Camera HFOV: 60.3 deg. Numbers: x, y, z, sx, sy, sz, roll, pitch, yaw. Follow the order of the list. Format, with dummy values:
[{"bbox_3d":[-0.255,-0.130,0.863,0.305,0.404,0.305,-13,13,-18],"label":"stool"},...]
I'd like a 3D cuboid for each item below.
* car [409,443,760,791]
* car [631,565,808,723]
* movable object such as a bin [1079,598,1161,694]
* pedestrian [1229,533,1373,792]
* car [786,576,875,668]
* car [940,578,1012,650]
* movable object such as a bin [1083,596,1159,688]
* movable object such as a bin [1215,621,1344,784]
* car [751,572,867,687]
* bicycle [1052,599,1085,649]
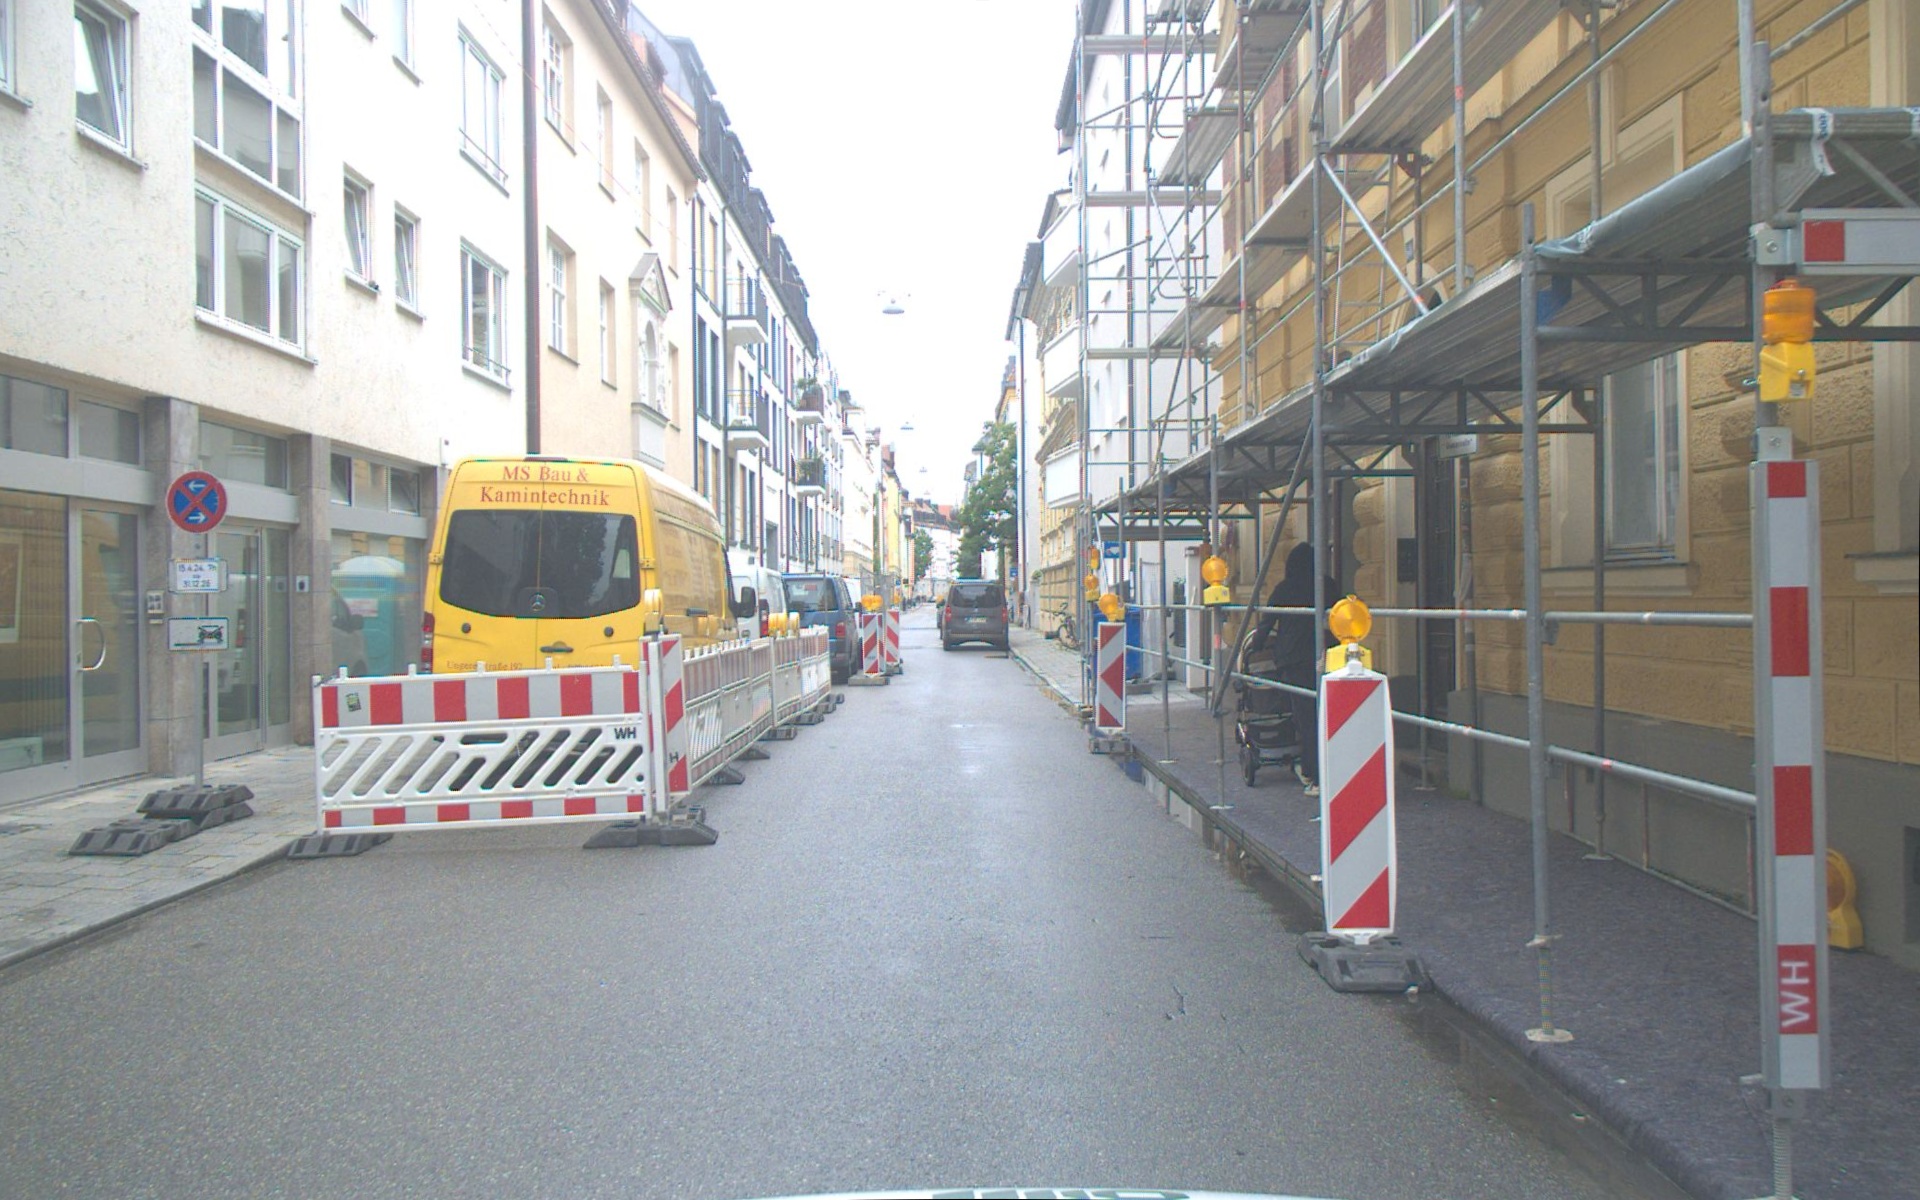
[{"bbox_3d":[-3.289,0.120,16.063,1.953,2.624,6.735,-1,0,-1],"label":"car"},{"bbox_3d":[-3.279,0.561,23.433,1.879,1.930,4.789,-3,0,-2],"label":"car"},{"bbox_3d":[2.505,0.697,25.789,1.063,1.369,1.319,-4,0,12],"label":"movable object such as a bin"},{"bbox_3d":[2.504,0.443,12.254,0.715,1.783,0.988,-4,0,-1],"label":"pedestrian"},{"bbox_3d":[-2.916,0.469,37.646,1.867,1.930,5.085,-1,0,-4],"label":"car"},{"bbox_3d":[0.412,0.380,48.126,1.953,1.966,4.658,0,0,-1],"label":"car"},{"bbox_3d":[2.648,0.676,27.030,1.102,1.369,1.172,-5,0,7],"label":"movable object such as a bin"},{"bbox_3d":[2.500,0.782,13.040,0.715,1.160,0.988,-5,0,-2],"label":"movable object such as a bin"},{"bbox_3d":[-2.791,0.512,31.645,1.692,1.930,5.508,-3,0,-1],"label":"car"},{"bbox_3d":[2.699,0.586,41.306,0.625,1.173,1.915,-3,1,0],"label":"bicycle"}]
